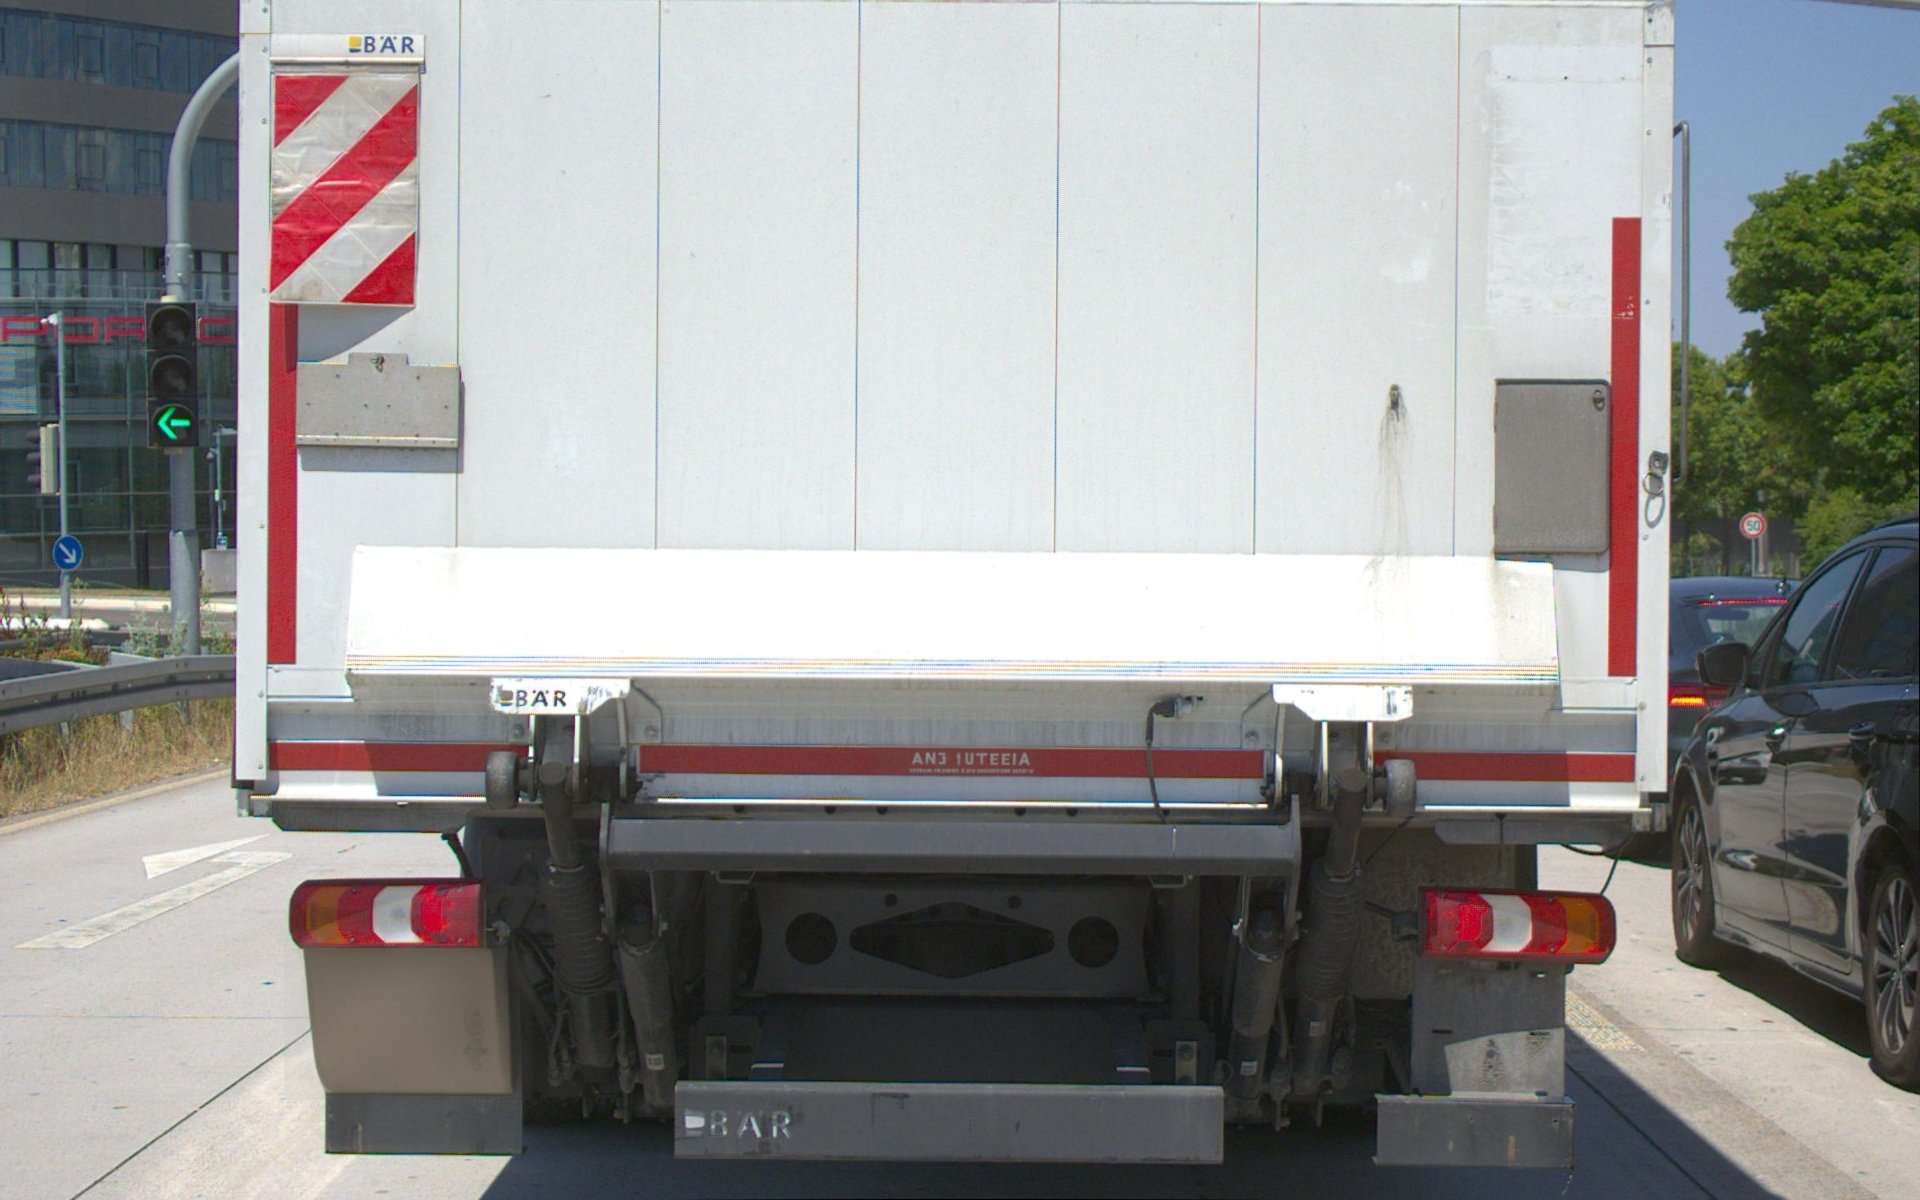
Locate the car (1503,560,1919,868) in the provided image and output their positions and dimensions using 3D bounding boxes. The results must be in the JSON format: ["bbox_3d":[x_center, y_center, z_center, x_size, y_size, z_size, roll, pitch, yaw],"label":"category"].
[{"bbox_3d":[4.056,0.508,18.227,1.768,1.405,4.609,1,1,2],"label":"car"}]

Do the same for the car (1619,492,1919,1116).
[{"bbox_3d":[3.430,0.527,10.946,1.784,1.634,4.647,1,1,0],"label":"car"}]

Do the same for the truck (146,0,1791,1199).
[{"bbox_3d":[-0.035,-0.601,10.507,2.769,3.846,9.371,1,1,-1],"label":"truck"}]
